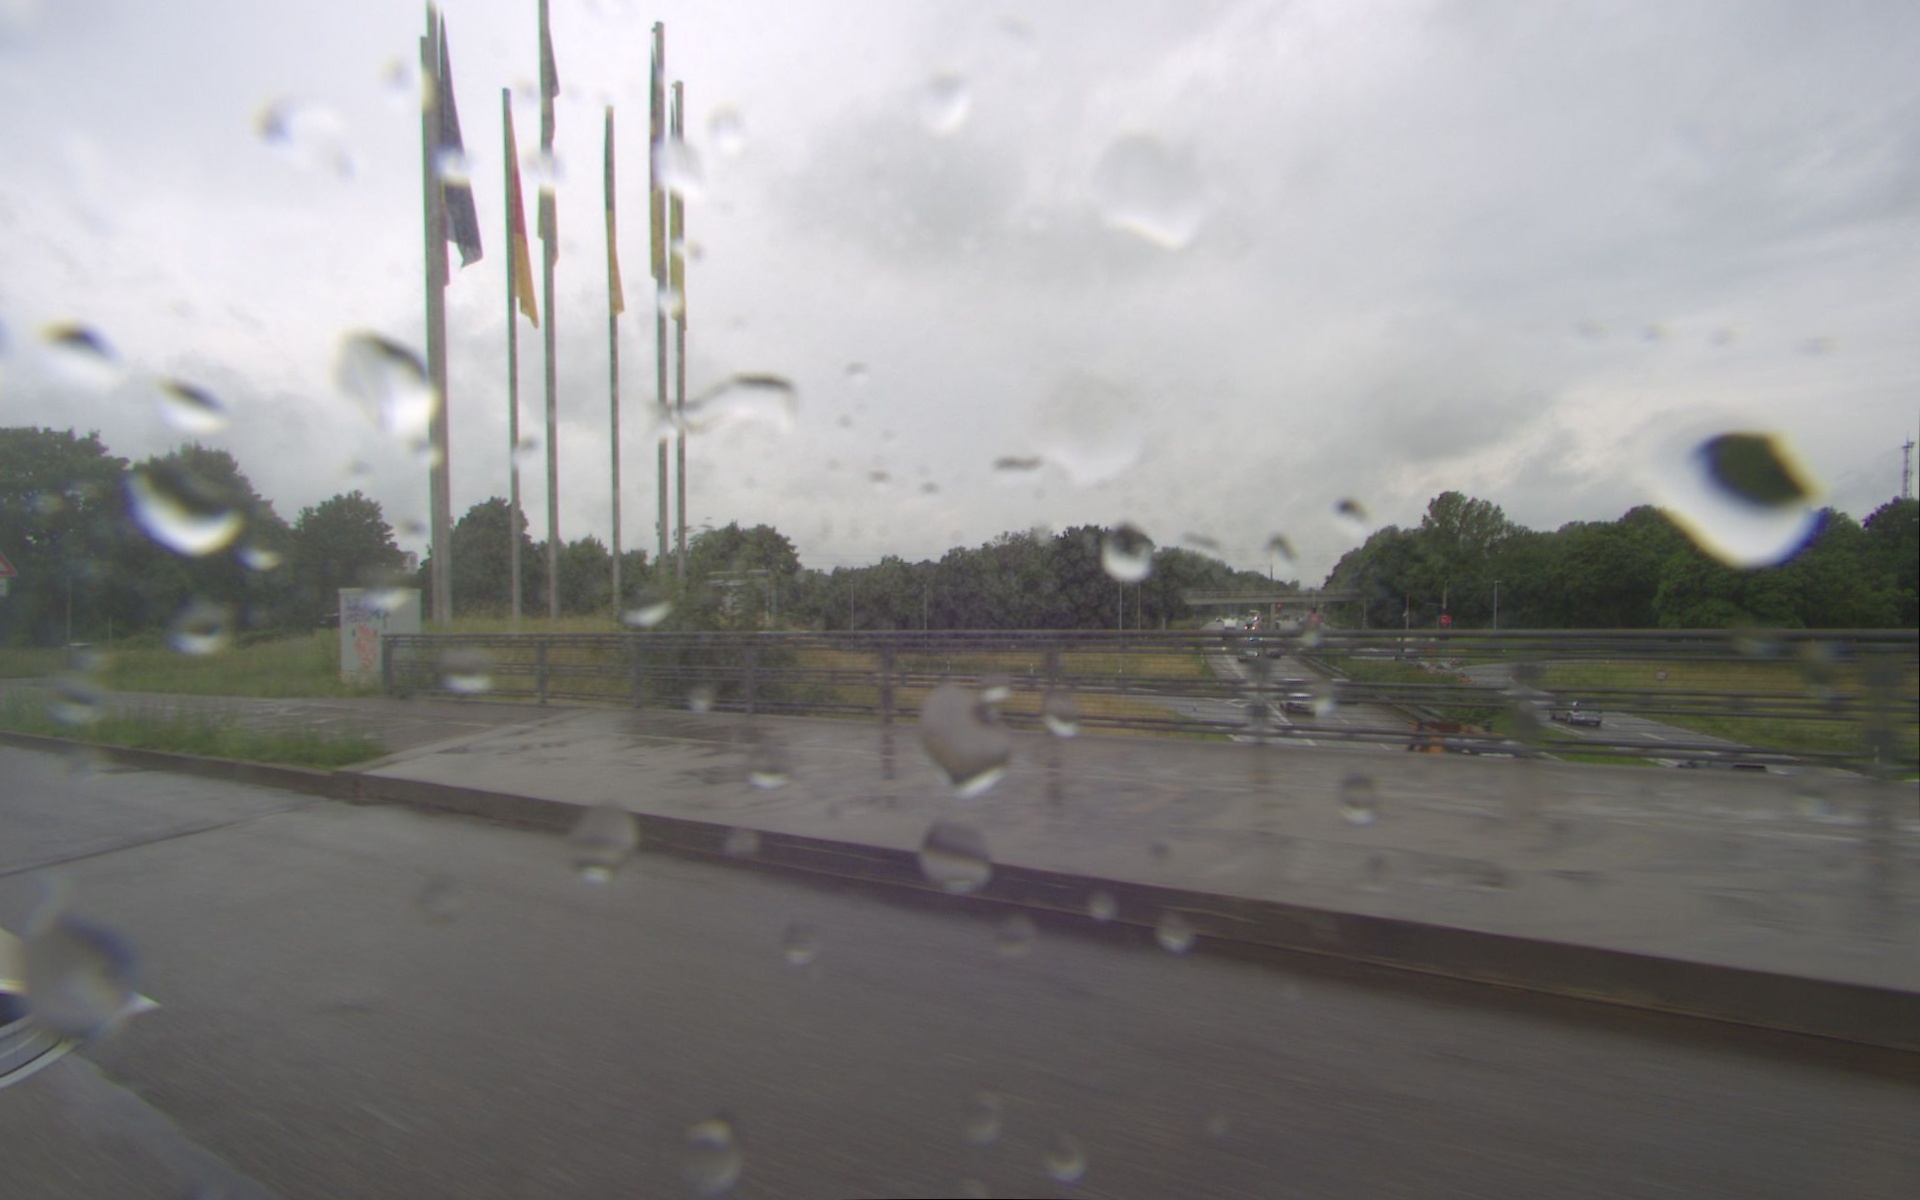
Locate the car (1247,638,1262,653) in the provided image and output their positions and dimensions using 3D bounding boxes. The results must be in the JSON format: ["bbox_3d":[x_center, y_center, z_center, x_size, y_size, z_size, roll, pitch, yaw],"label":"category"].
[{"bbox_3d":[42.364,6.478,144.201,1.963,1.962,4.740,-1,-1,15],"label":"car"}]

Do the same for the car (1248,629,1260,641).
[{"bbox_3d":[53.427,6.368,181.983,1.963,1.962,4.740,-1,-1,15],"label":"car"}]

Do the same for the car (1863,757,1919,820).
[{"bbox_3d":[33.348,6.527,34.204,1.962,1.750,3.999,0,-2,12],"label":"car"}]

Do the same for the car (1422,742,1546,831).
[{"bbox_3d":[17.393,6.136,33.590,2.255,1.990,5.617,0,-1,12],"label":"car"}]

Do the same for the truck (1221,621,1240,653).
[{"bbox_3d":[40.411,5.451,149.801,2.584,4.595,10.503,-1,0,15],"label":"truck"}]

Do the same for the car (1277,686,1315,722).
[{"bbox_3d":[22.079,6.800,65.928,1.962,1.976,3.998,0,-1,12],"label":"car"}]

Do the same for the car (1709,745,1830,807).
[{"bbox_3d":[30.764,6.661,38.236,1.962,1.750,3.999,0,-2,12],"label":"car"}]

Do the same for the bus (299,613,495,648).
[{"bbox_3d":[-47.674,2.517,85.319,14.402,2.715,2.745,0,-1,-35],"label":"bus"}]

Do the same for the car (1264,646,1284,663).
[{"bbox_3d":[36.617,6.317,116.729,1.963,1.720,4.740,-1,-1,15],"label":"car"}]

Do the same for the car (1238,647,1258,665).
[{"bbox_3d":[31.433,6.092,109.424,1.963,1.720,4.740,-1,-1,15],"label":"car"}]
